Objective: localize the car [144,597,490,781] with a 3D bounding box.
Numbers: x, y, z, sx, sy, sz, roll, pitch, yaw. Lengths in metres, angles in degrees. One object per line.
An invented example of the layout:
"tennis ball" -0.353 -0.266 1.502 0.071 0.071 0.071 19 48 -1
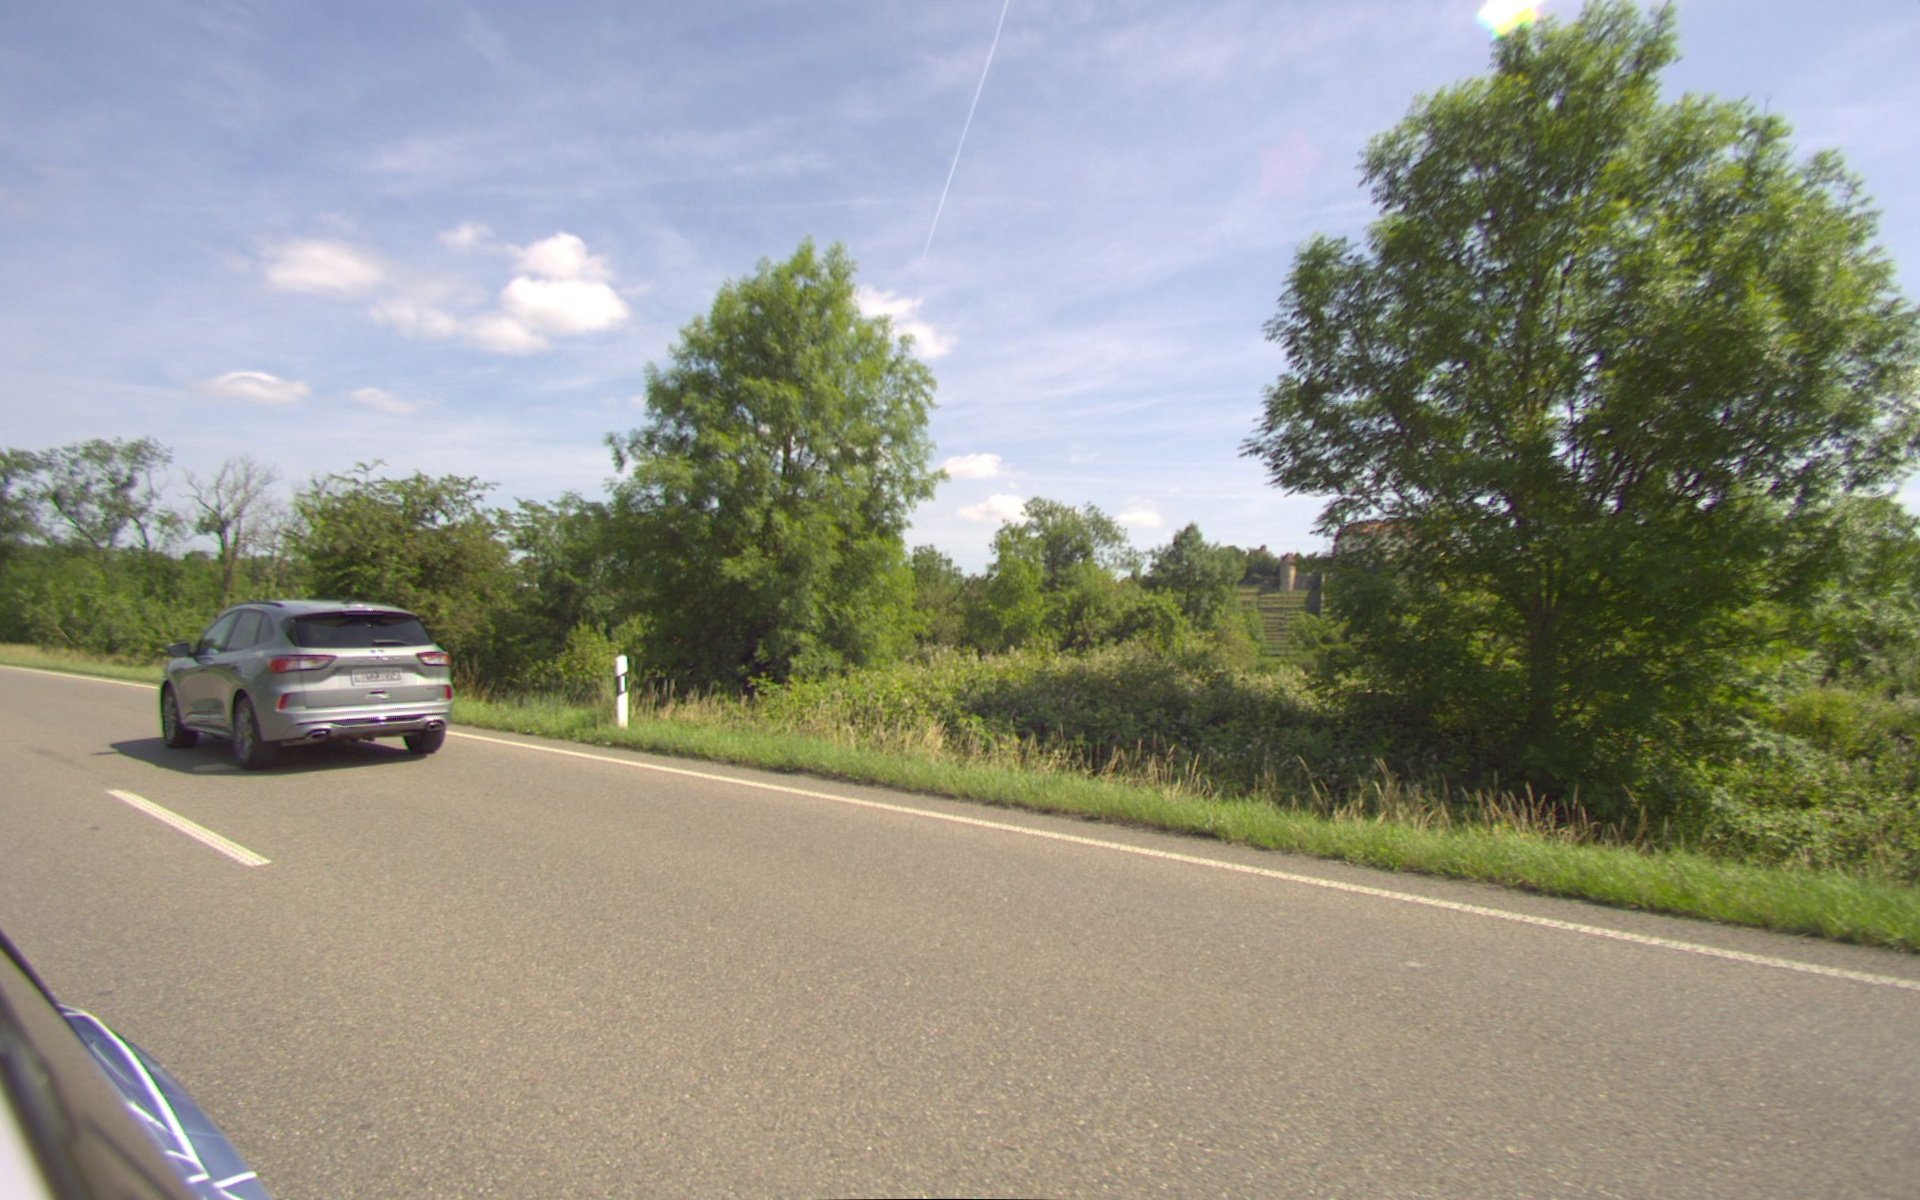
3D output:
"car" -7.136 0.825 11.060 4.397 1.617 1.937 -1 -2 40
